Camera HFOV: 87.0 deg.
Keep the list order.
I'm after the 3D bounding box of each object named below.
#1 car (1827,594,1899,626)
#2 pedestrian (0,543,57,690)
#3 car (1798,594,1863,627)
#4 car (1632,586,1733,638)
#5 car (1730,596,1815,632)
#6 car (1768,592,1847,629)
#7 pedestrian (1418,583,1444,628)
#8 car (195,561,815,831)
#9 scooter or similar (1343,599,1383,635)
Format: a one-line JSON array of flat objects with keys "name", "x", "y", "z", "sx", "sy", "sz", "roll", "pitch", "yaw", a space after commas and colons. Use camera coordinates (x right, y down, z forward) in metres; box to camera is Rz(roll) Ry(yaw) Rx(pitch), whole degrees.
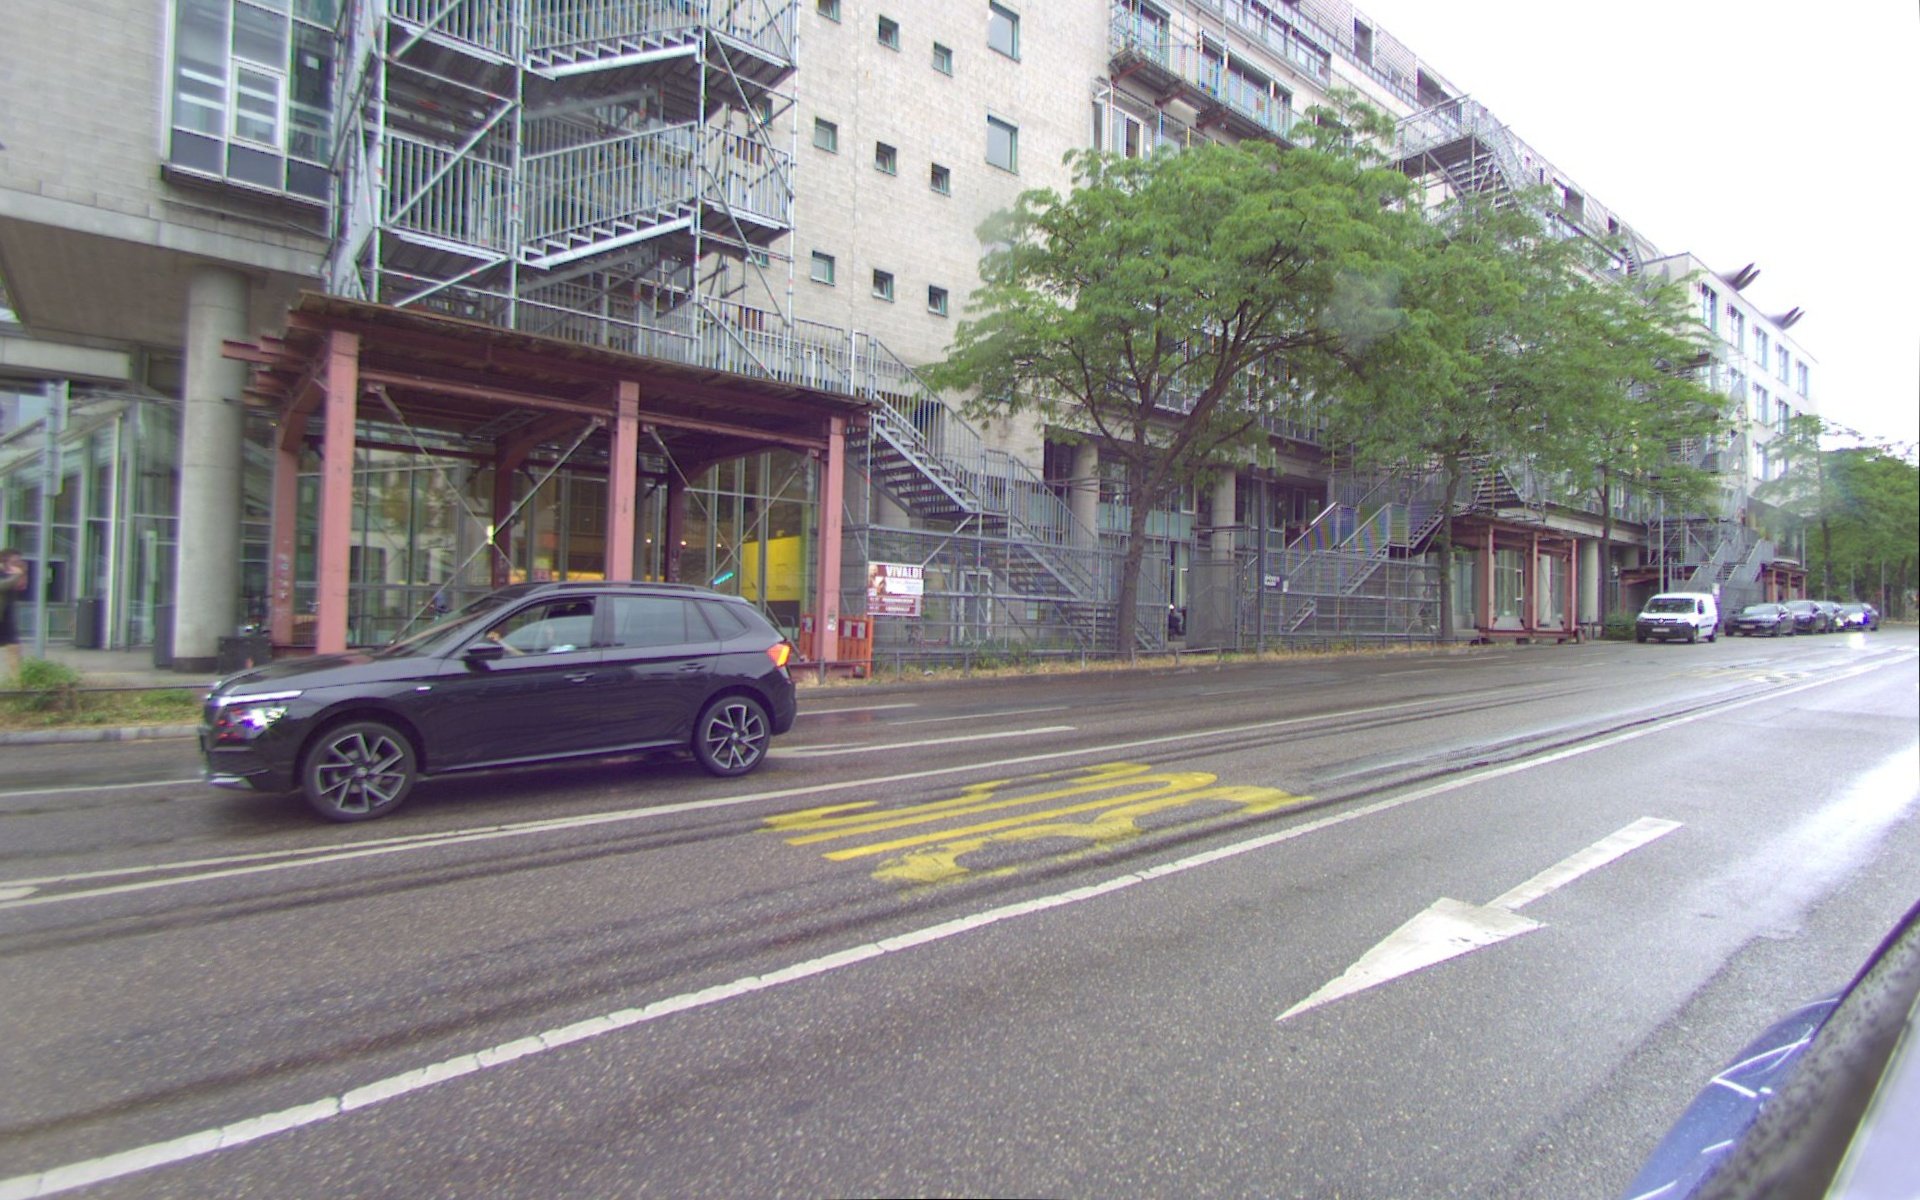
[{"name": "car", "x": 49.036, "y": 0.543, "z": 54.905, "sx": 5.191, "sy": 1.621, "sz": 1.999, "roll": 1, "pitch": 0, "yaw": -38}, {"name": "pedestrian", "x": -12.507, "y": 0.204, "z": 13.123, "sx": 1.034, "sy": 1.875, "sz": 0.683, "roll": 0, "pitch": 0, "yaw": -25}, {"name": "car", "x": 44.315, "y": 0.513, "z": 51.477, "sx": 4.512, "sy": 1.621, "sz": 1.865, "roll": 1, "pitch": 0, "yaw": -41}, {"name": "car", "x": 26.150, "y": 0.392, "z": 36.570, "sx": 4.447, "sy": 1.772, "sz": 1.997, "roll": 0, "pitch": 0, "yaw": -41}, {"name": "car", "x": 35.182, "y": 0.607, "z": 43.759, "sx": 4.831, "sy": 1.455, "sz": 1.873, "roll": 1, "pitch": 0, "yaw": -39}, {"name": "car", "x": 40.286, "y": 0.477, "z": 48.064, "sx": 4.774, "sy": 1.667, "sz": 1.998, "roll": 1, "pitch": 0, "yaw": -39}, {"name": "pedestrian", "x": 18.684, "y": 0.193, "z": 40.143, "sx": 0.641, "sy": 1.764, "sz": 0.678, "roll": 0, "pitch": 0, "yaw": -38}, {"name": "car", "x": -3.346, "y": 0.551, "z": 7.834, "sx": 4.071, "sy": 1.559, "sz": 1.782, "roll": 0, "pitch": 0, "yaw": -39}, {"name": "scooter or similar", "x": 13.731, "y": 0.565, "z": 34.496, "sx": 1.520, "sy": 1.176, "sz": 0.632, "roll": 0, "pitch": 0, "yaw": -41}]
